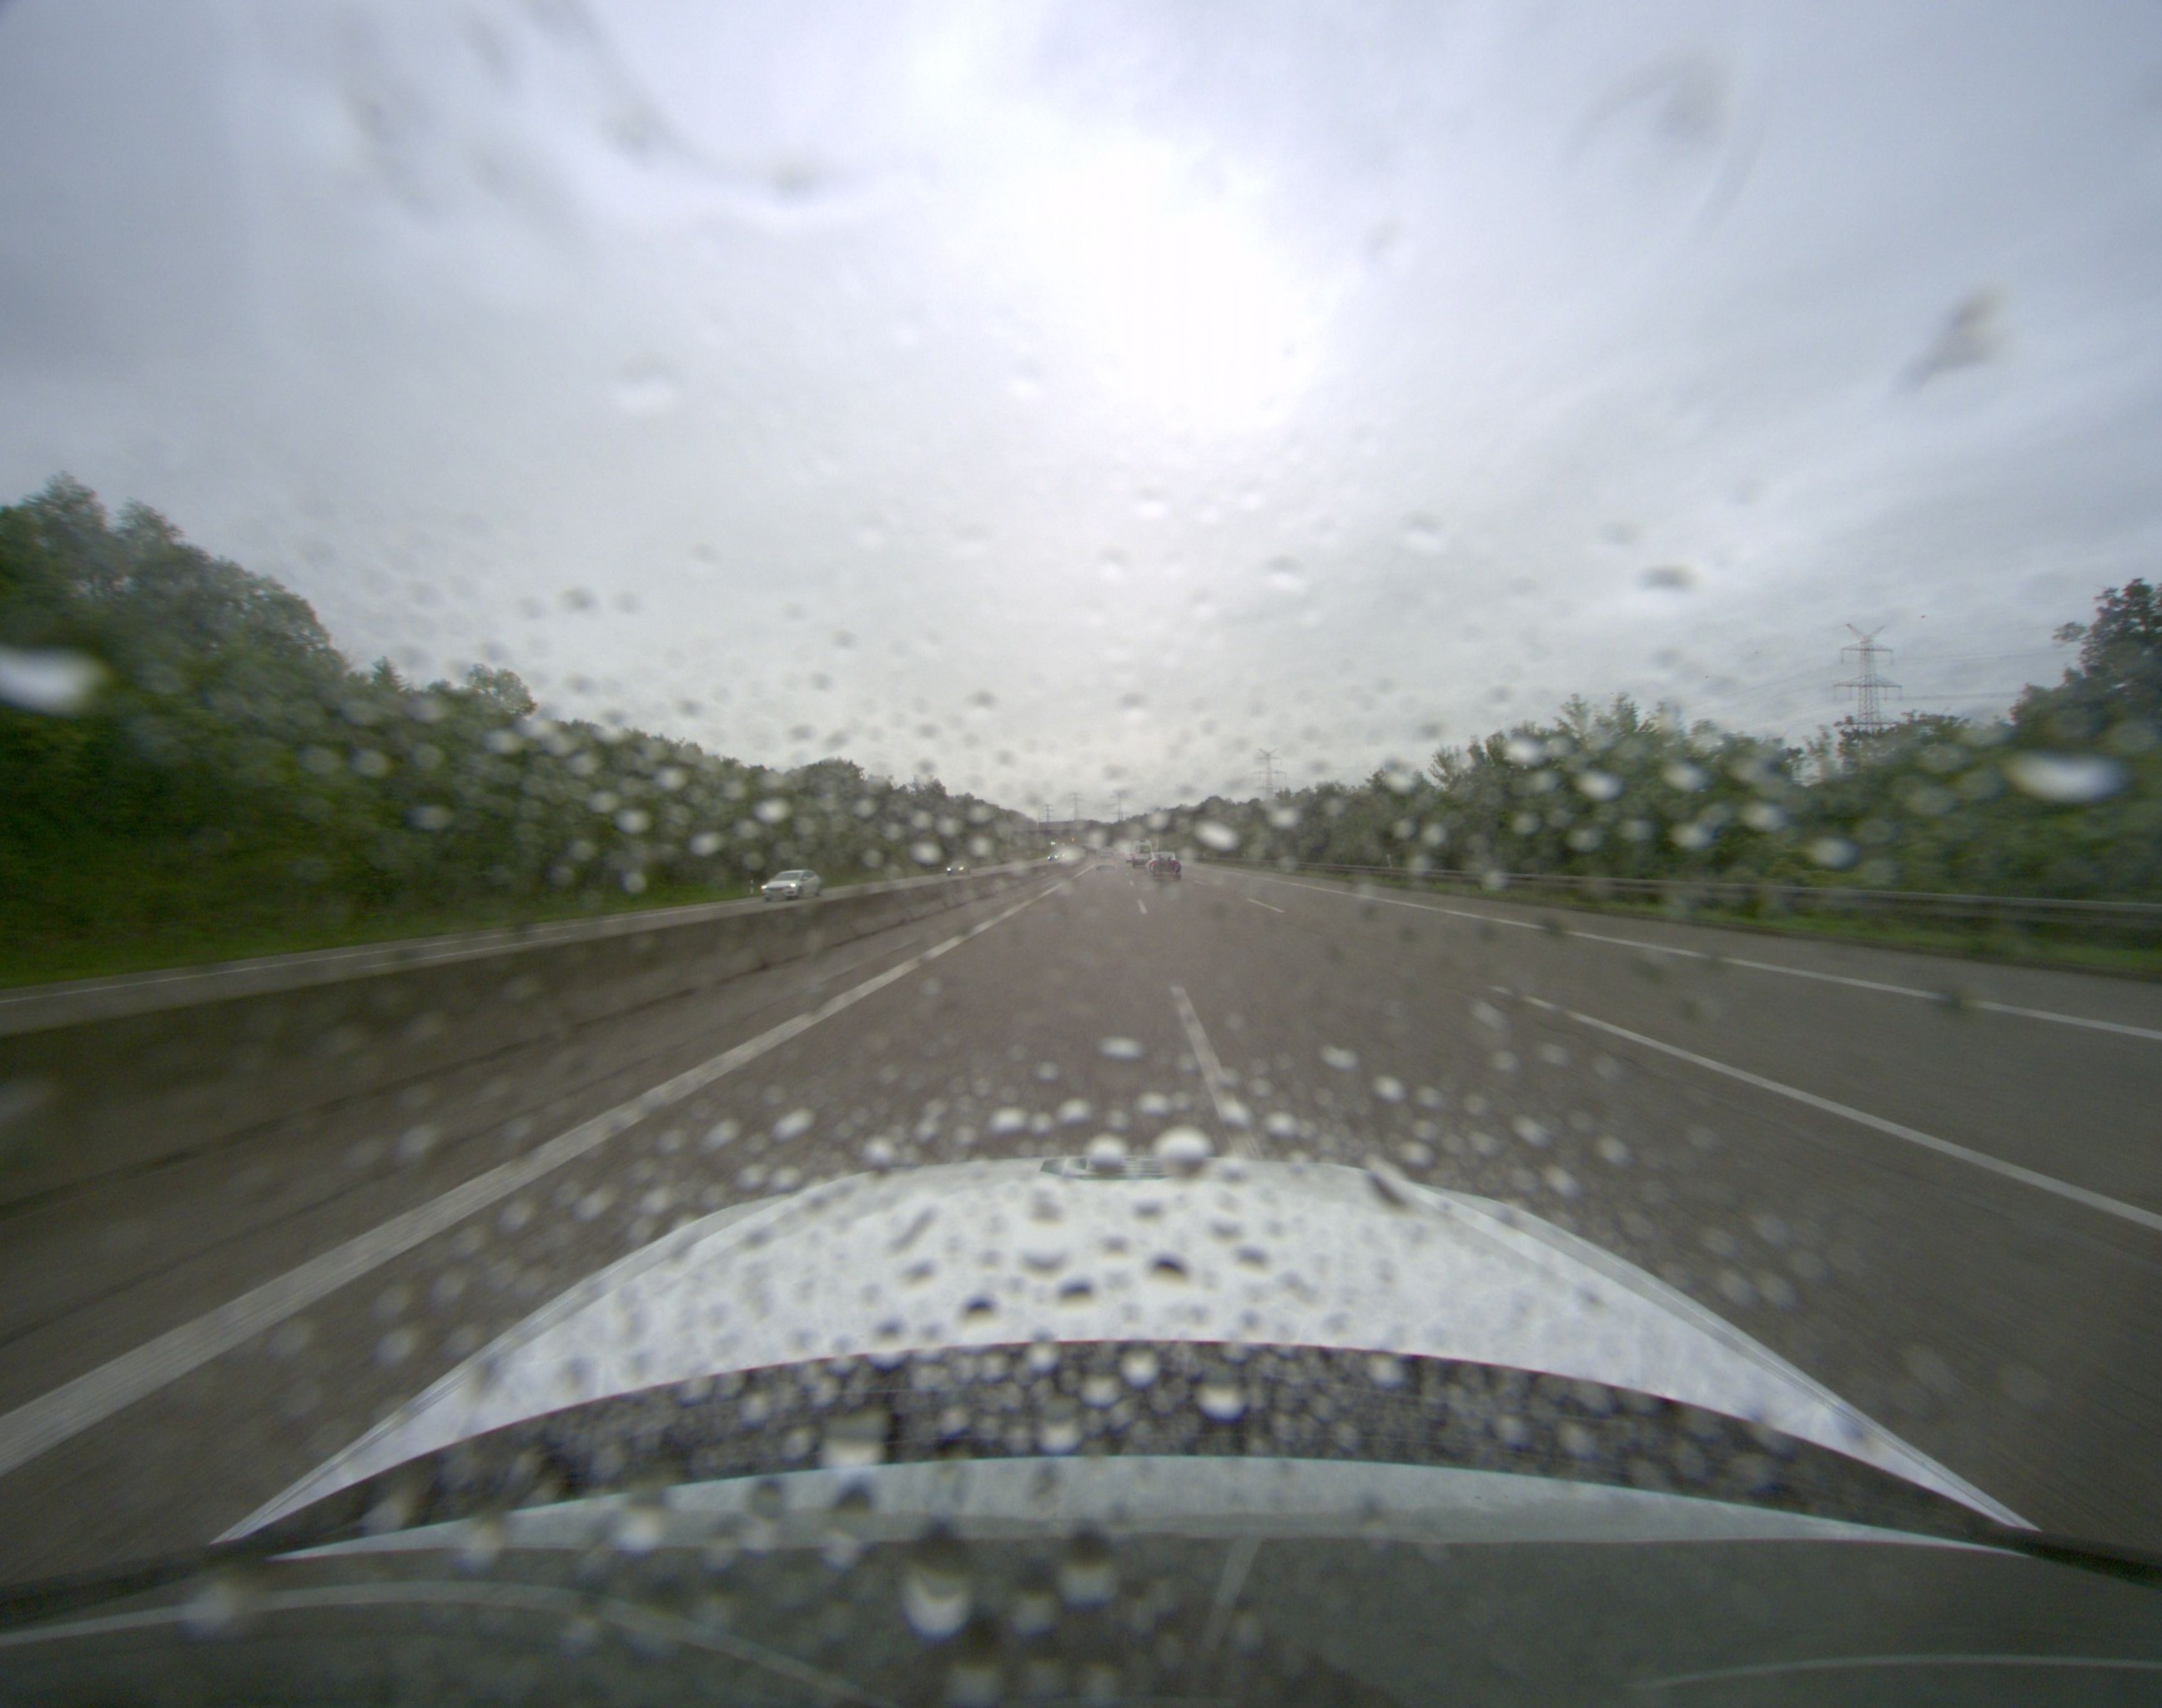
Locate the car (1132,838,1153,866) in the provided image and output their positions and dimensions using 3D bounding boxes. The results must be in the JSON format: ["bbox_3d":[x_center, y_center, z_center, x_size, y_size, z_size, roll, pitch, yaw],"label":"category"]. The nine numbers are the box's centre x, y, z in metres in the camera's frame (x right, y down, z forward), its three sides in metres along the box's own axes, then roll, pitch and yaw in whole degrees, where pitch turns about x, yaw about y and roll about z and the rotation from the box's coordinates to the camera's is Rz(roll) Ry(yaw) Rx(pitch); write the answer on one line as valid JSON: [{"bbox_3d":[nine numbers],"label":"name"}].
[{"bbox_3d":[6.374,-0.195,84.917,1.985,2.864,4.003,-2,0,3],"label":"car"}]

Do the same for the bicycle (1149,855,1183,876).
[{"bbox_3d":[4.574,0.595,44.066,1.747,1.090,0.914,-1,-1,1],"label":"bicycle"}]

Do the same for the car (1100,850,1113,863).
[{"bbox_3d":[3.496,0.332,112.119,1.839,1.772,4.001,0,-1,1],"label":"car"}]

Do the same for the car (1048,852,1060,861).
[{"bbox_3d":[-5.691,0.511,171.267,1.986,1.688,4.919,-2,0,2],"label":"car"}]

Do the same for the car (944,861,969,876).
[{"bbox_3d":[-13.087,1.532,85.863,1.792,1.385,4.470,-2,0,2],"label":"car"}]

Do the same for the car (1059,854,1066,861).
[{"bbox_3d":[-5.183,0.967,232.691,1.735,1.904,4.532,-2,0,2],"label":"car"}]

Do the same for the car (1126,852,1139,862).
[{"bbox_3d":[7.487,0.438,118.425,1.849,1.422,4.003,-1,1,2],"label":"car"}]

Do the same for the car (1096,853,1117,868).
[{"bbox_3d":[2.367,0.630,75.834,1.860,1.288,4.001,-2,0,1],"label":"car"}]

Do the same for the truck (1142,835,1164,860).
[{"bbox_3d":[13.326,-1.247,152.688,3.588,4.332,13.211,-2,0,3],"label":"truck"}]

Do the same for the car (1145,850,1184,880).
[{"bbox_3d":[4.769,0.593,47.012,1.853,1.568,4.966,-1,0,2],"label":"car"}]

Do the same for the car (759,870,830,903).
[{"bbox_3d":[-14.645,1.624,41.903,1.791,1.450,4.631,-2,0,2],"label":"car"}]

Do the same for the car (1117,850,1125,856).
[{"bbox_3d":[10.468,-0.212,212.661,1.986,1.574,4.001,-3,0,1],"label":"car"}]
